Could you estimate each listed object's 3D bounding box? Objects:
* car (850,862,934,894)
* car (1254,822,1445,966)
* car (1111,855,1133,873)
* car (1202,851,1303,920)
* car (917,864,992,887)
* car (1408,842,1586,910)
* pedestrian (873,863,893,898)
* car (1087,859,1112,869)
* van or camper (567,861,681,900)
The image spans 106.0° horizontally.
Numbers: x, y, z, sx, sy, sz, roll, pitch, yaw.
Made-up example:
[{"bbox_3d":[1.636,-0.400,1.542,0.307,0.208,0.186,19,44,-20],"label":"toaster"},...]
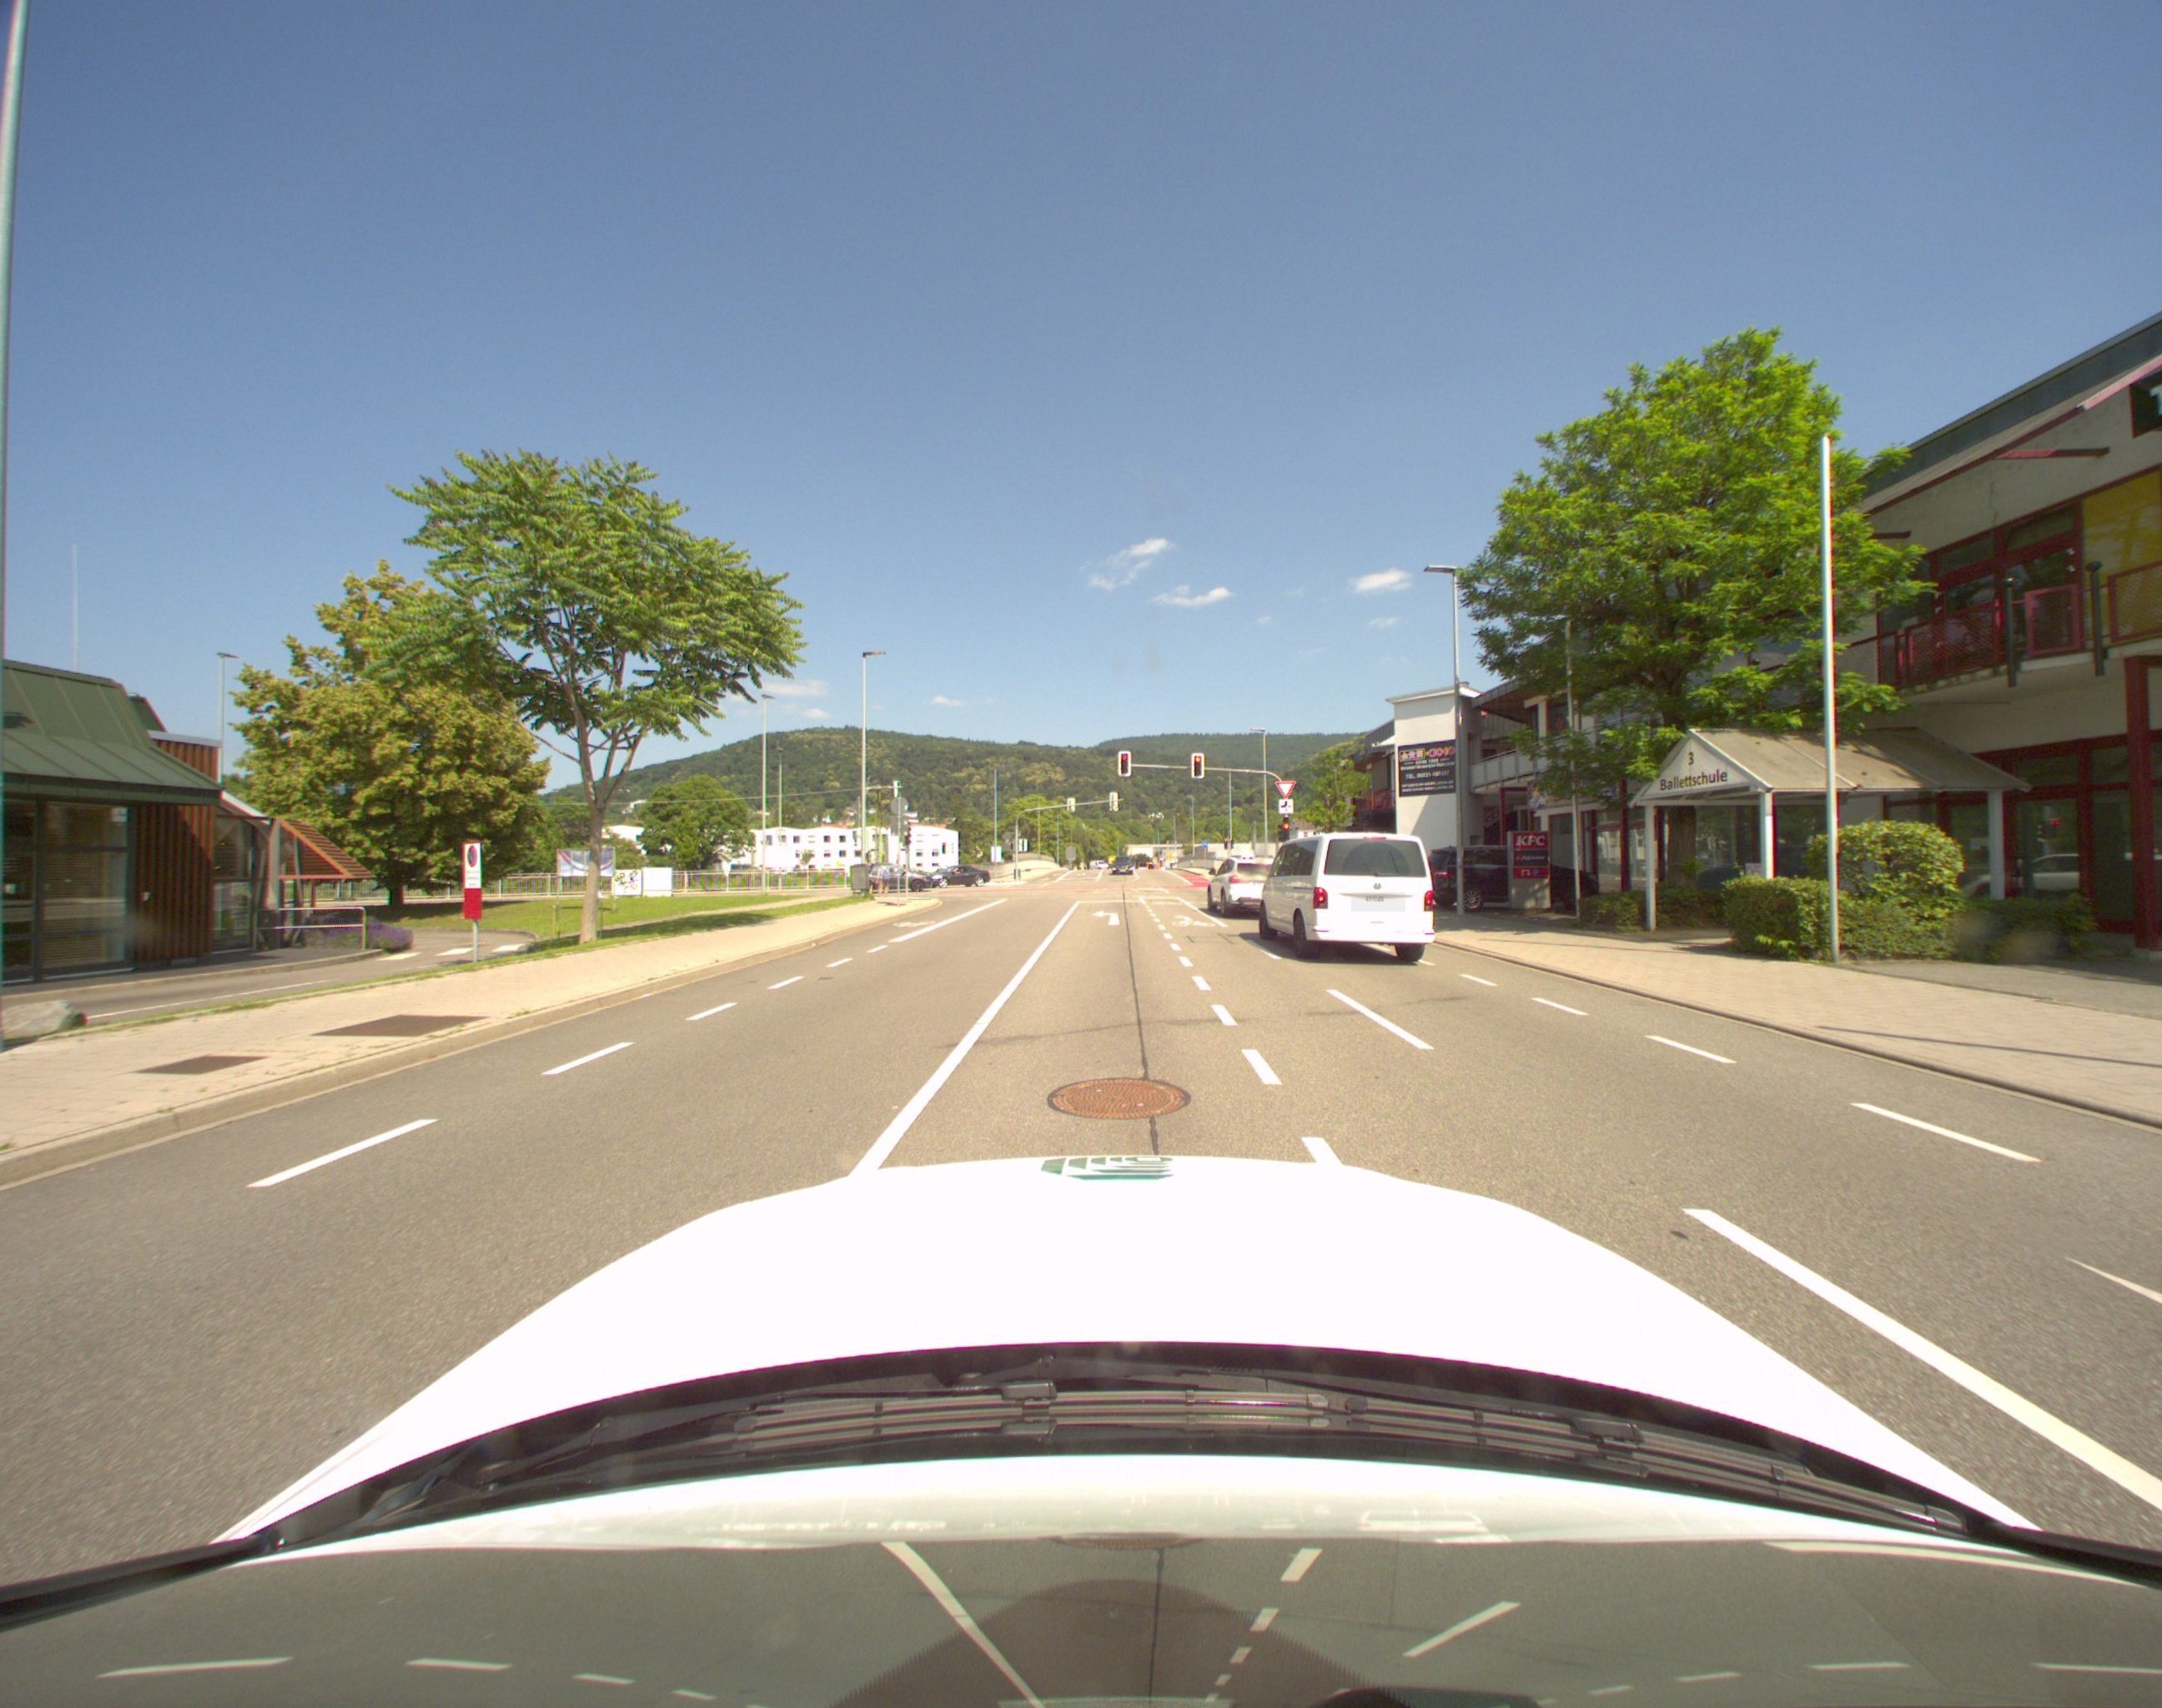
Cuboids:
[{"bbox_3d":[-10.161,1.264,44.064,4.318,1.592,1.992,-1,0,-12],"label":"car"},{"bbox_3d":[4.367,0.576,14.041,1.927,2.059,4.546,1,0,2],"label":"car"},{"bbox_3d":[3.663,0.864,72.499,1.842,1.588,4.003,-1,0,3],"label":"car"},{"bbox_3d":[4.652,0.800,22.735,1.928,1.686,4.545,1,0,1],"label":"car"},{"bbox_3d":[-8.050,1.334,51.977,4.345,1.370,1.978,-1,0,-36],"label":"car"},{"bbox_3d":[11.398,0.594,22.604,3.964,1.775,2.005,-1,0,8],"label":"car"},{"bbox_3d":[-9.126,1.197,37.548,0.696,1.573,0.676,-1,0,0],"label":"pedestrian"},{"bbox_3d":[3.048,1.689,134.133,1.863,1.588,4.415,-1,0,-33],"label":"car"},{"bbox_3d":[-20.221,1.163,36.211,3.995,1.574,1.989,2,0,-16],"label":"van or camper"}]
